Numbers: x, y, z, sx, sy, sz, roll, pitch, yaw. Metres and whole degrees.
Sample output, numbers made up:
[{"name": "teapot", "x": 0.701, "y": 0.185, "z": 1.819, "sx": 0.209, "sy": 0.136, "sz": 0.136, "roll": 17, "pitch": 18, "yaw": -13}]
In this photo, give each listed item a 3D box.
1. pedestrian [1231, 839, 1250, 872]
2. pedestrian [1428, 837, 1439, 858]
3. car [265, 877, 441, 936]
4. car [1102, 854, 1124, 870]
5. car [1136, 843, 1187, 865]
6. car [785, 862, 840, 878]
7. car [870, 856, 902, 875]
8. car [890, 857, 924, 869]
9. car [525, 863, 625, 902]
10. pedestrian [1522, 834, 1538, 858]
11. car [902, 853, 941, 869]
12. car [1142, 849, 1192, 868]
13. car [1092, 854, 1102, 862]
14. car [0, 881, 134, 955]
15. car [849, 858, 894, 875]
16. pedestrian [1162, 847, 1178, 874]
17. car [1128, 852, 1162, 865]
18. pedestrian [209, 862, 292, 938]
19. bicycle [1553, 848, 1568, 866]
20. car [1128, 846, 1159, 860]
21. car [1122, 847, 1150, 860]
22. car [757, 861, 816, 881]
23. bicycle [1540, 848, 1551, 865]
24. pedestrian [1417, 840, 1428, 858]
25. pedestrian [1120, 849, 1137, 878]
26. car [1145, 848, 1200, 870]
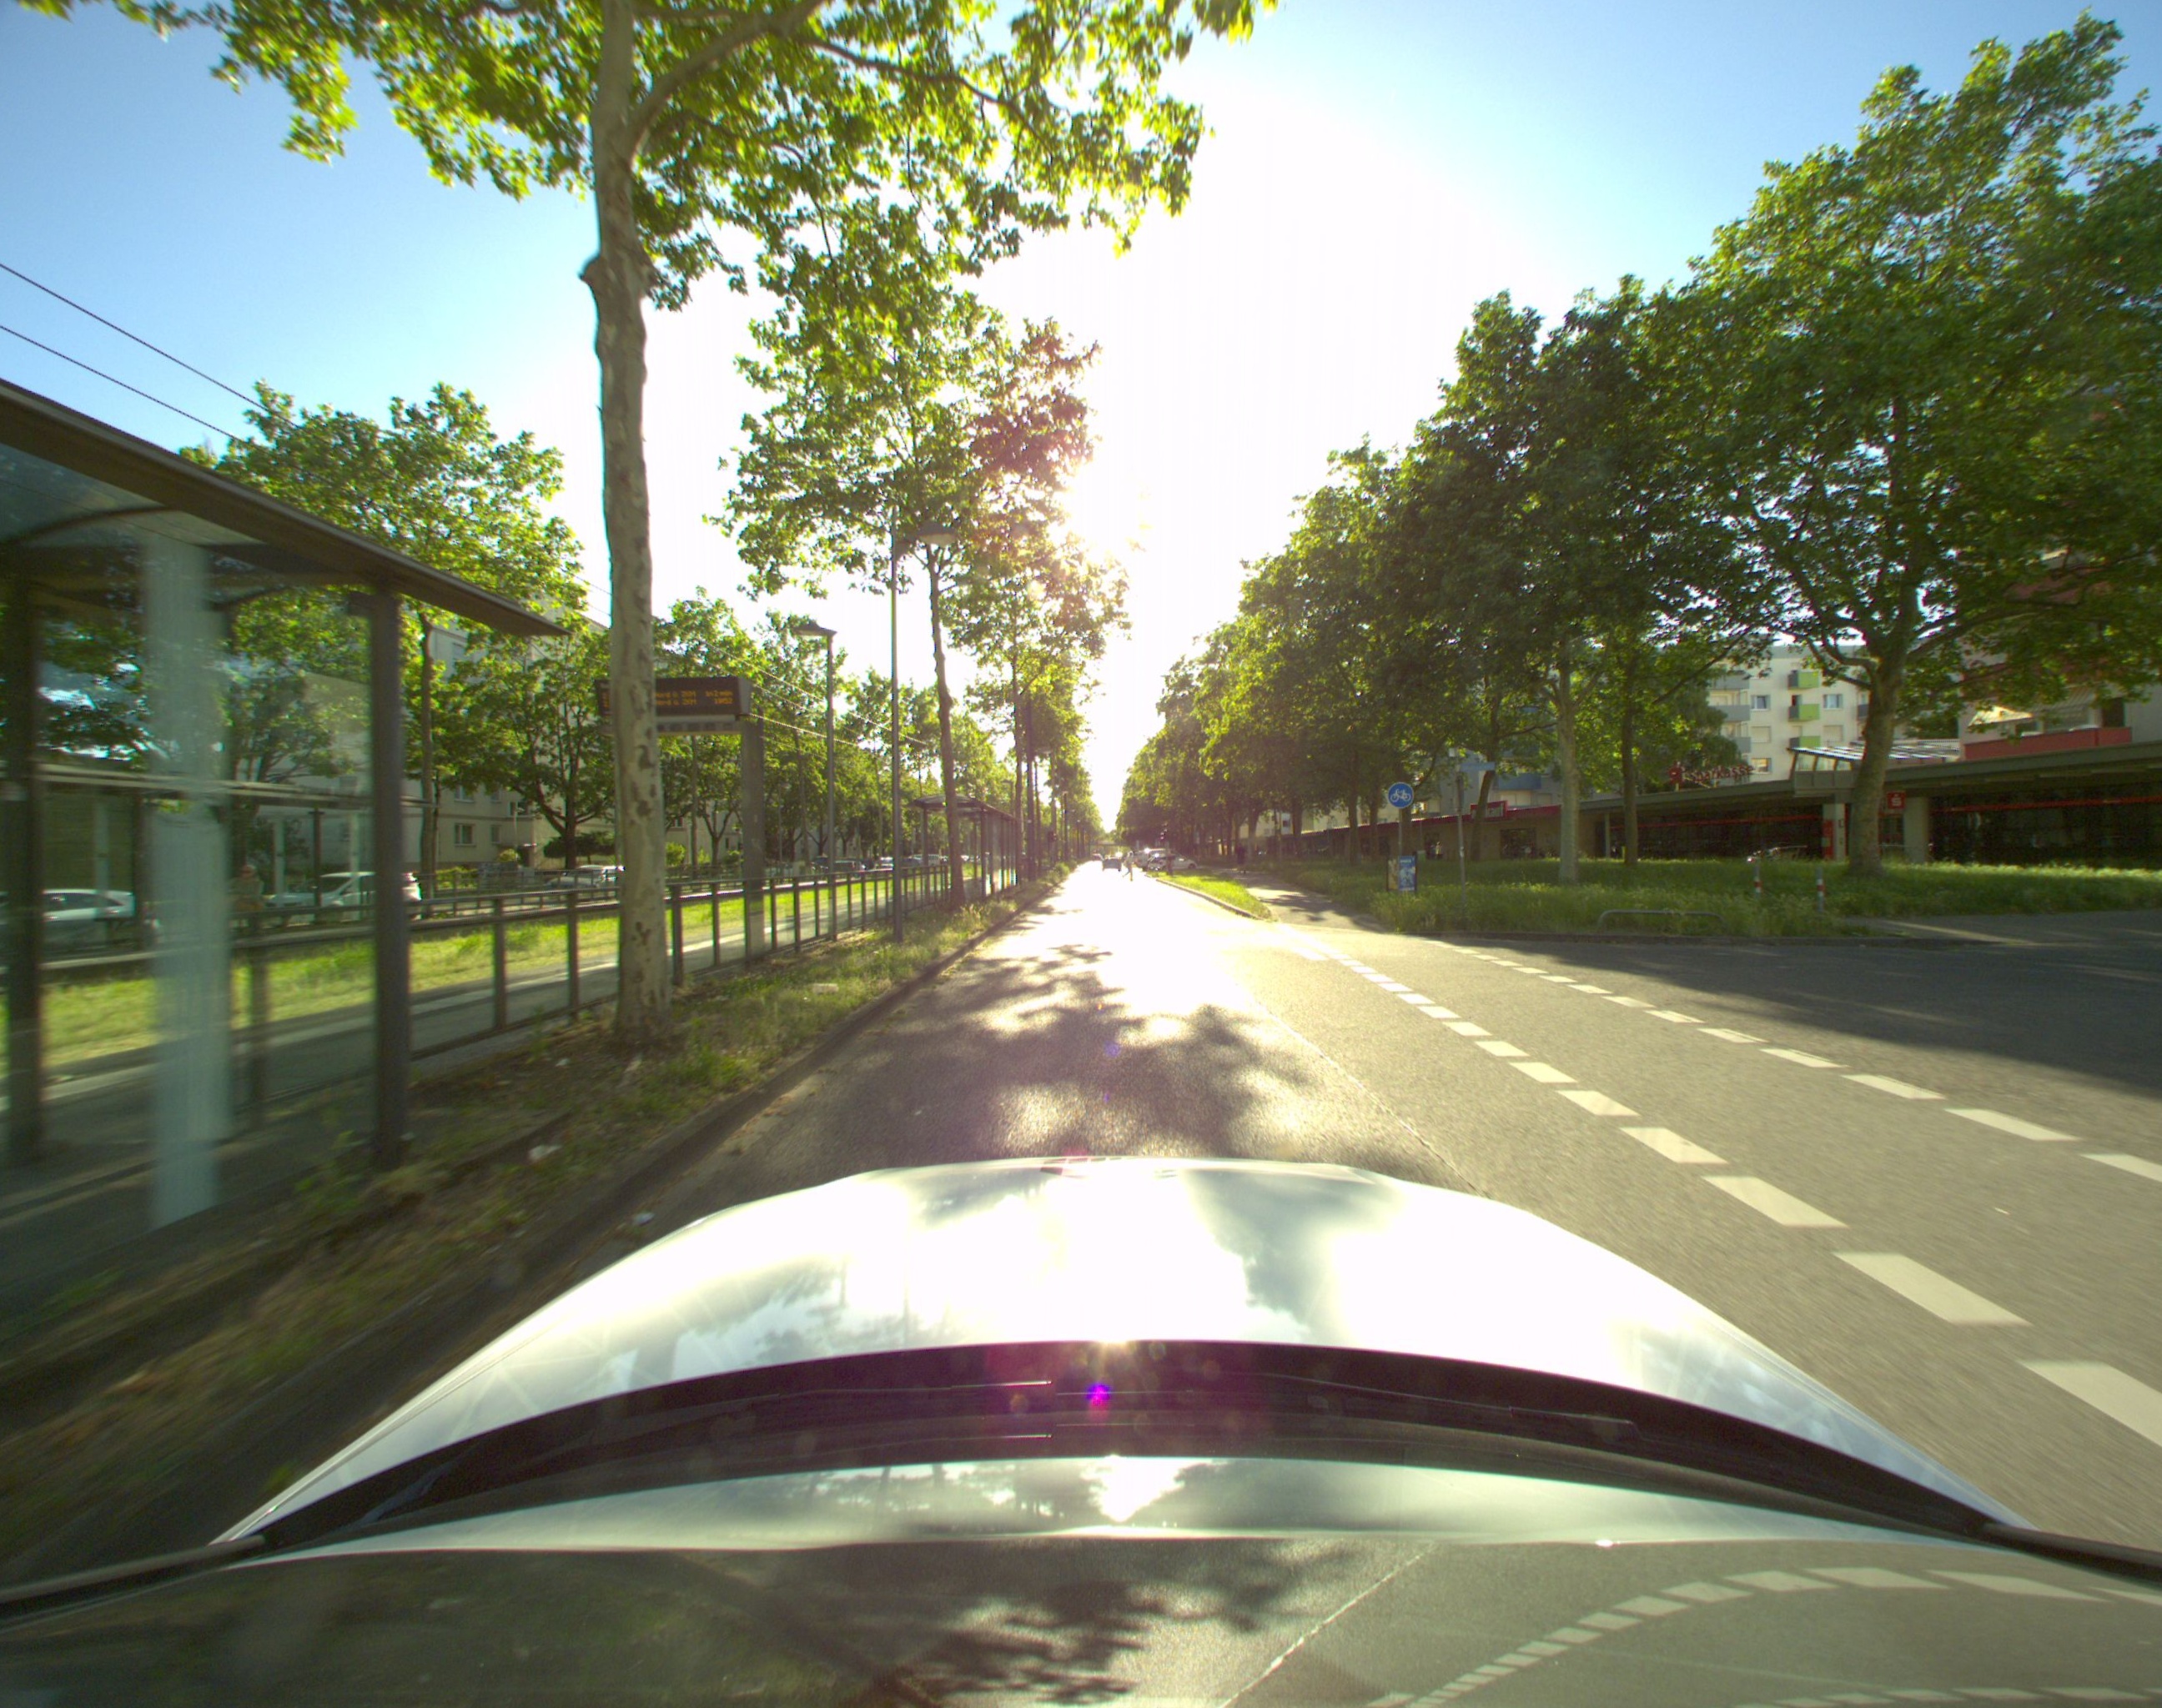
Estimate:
[{"name": "pedestrian", "x": 9.399, "y": 0.093, "z": 47.986, "sx": 0.790, "sy": 1.885, "sz": 0.934, "roll": -1, "pitch": 0, "yaw": 35}, {"name": "pedestrian", "x": 29.061, "y": -0.528, "z": 67.109, "sx": 0.494, "sy": 1.700, "sz": 0.715, "roll": -1, "pitch": 1, "yaw": -4}, {"name": "car", "x": -22.257, "y": 1.546, "z": 25.137, "sx": 1.706, "sy": 1.546, "sz": 3.937, "roll": -1, "pitch": 0, "yaw": 4}, {"name": "car", "x": 2.923, "y": 0.730, "z": 74.618, "sx": 1.915, "sy": 1.411, "sz": 4.000, "roll": 0, "pitch": 0, "yaw": 1}, {"name": "car", "x": 7.381, "y": 0.027, "z": 74.181, "sx": 4.694, "sy": 1.853, "sz": 1.809, "roll": -2, "pitch": 0, "yaw": -39}, {"name": "car", "x": -21.927, "y": 1.287, "z": 66.626, "sx": 3.846, "sy": 1.246, "sz": 1.819, "roll": -1, "pitch": 0, "yaw": -41}, {"name": "car", "x": -17.374, "y": 0.997, "z": 72.791, "sx": 1.706, "sy": 1.546, "sz": 3.937, "roll": -1, "pitch": 0, "yaw": 3}, {"name": "car", "x": -22.473, "y": 1.161, "z": 105.290, "sx": 4.106, "sy": 1.432, "sz": 1.560, "roll": -1, "pitch": -2, "yaw": -41}, {"name": "car", "x": -22.594, "y": 1.220, "z": 36.559, "sx": 1.707, "sy": 1.546, "sz": 4.203, "roll": -1, "pitch": 0, "yaw": 2}, {"name": "pedestrian", "x": 30.579, "y": -0.537, "z": 55.452, "sx": 0.669, "sy": 1.584, "sz": 0.715, "roll": -1, "pitch": 1, "yaw": -4}, {"name": "car", "x": -21.339, "y": 0.915, "z": 109.246, "sx": 4.821, "sy": 2.006, "sz": 1.871, "roll": -1, "pitch": 1, "yaw": -37}, {"name": "car", "x": 7.448, "y": 0.386, "z": 70.680, "sx": 4.011, "sy": 1.429, "sz": 1.782, "roll": -3, "pitch": 0, "yaw": -31}, {"name": "car", "x": 2.888, "y": 0.710, "z": 146.707, "sx": 1.842, "sy": 1.535, "sz": 3.868, "roll": -1, "pitch": 0, "yaw": 2}, {"name": "car", "x": -19.826, "y": 1.182, "z": 14.798, "sx": 1.258, "sy": 1.241, "sz": 3.376, "roll": -1, "pitch": 0, "yaw": 0}, {"name": "car", "x": -20.888, "y": 1.232, "z": 81.379, "sx": 1.631, "sy": 1.475, "sz": 4.109, "roll": 5, "pitch": 4, "yaw": 44}, {"name": "pedestrian", "x": 5.706, "y": 0.405, "z": 52.338, "sx": 0.715, "sy": 1.706, "sz": 0.647, "roll": -2, "pitch": -1, "yaw": -33}, {"name": "car", "x": 7.298, "y": 0.523, "z": 92.324, "sx": 3.961, "sy": 1.373, "sz": 1.568, "roll": -2, "pitch": 0, "yaw": -43}, {"name": "pedestrian", "x": -14.325, "y": 0.768, "z": 14.060, "sx": 0.829, "sy": 1.261, "sz": 0.804, "roll": 0, "pitch": 0, "yaw": 30}, {"name": "bicycle", "x": 31.748, "y": 0.173, "z": 53.907, "sx": 0.592, "sy": 1.179, "sz": 1.861, "roll": 0, "pitch": 0, "yaw": 23}, {"name": "car", "x": 8.227, "y": -0.117, "z": 106.952, "sx": 4.049, "sy": 1.705, "sz": 1.740, "roll": -2, "pitch": 0, "yaw": -40}, {"name": "car", "x": 8.157, "y": -0.078, "z": 120.676, "sx": 4.105, "sy": 1.811, "sz": 1.632, "roll": -2, "pitch": 0, "yaw": -39}, {"name": "car", "x": -22.566, "y": 1.273, "z": 62.555, "sx": 1.817, "sy": 1.435, "sz": 3.849, "roll": -1, "pitch": 0, "yaw": 42}, {"name": "bicycle", "x": 31.595, "y": 0.174, "z": 55.437, "sx": 0.591, "sy": 1.179, "sz": 1.862, "roll": 0, "pitch": 0, "yaw": 29}, {"name": "pedestrian", "x": 28.155, "y": -0.416, "z": 67.174, "sx": 0.530, "sy": 1.430, "sz": 0.715, "roll": -1, "pitch": 1, "yaw": -4}, {"name": "pedestrian", "x": 2.909, "y": 0.571, "z": 49.948, "sx": 0.835, "sy": 1.722, "sz": 0.833, "roll": -1, "pitch": 0, "yaw": 16}, {"name": "car", "x": 7.182, "y": 0.376, "z": 64.078, "sx": 4.011, "sy": 1.469, "sz": 1.744, "roll": -3, "pitch": 0, "yaw": -31}]
